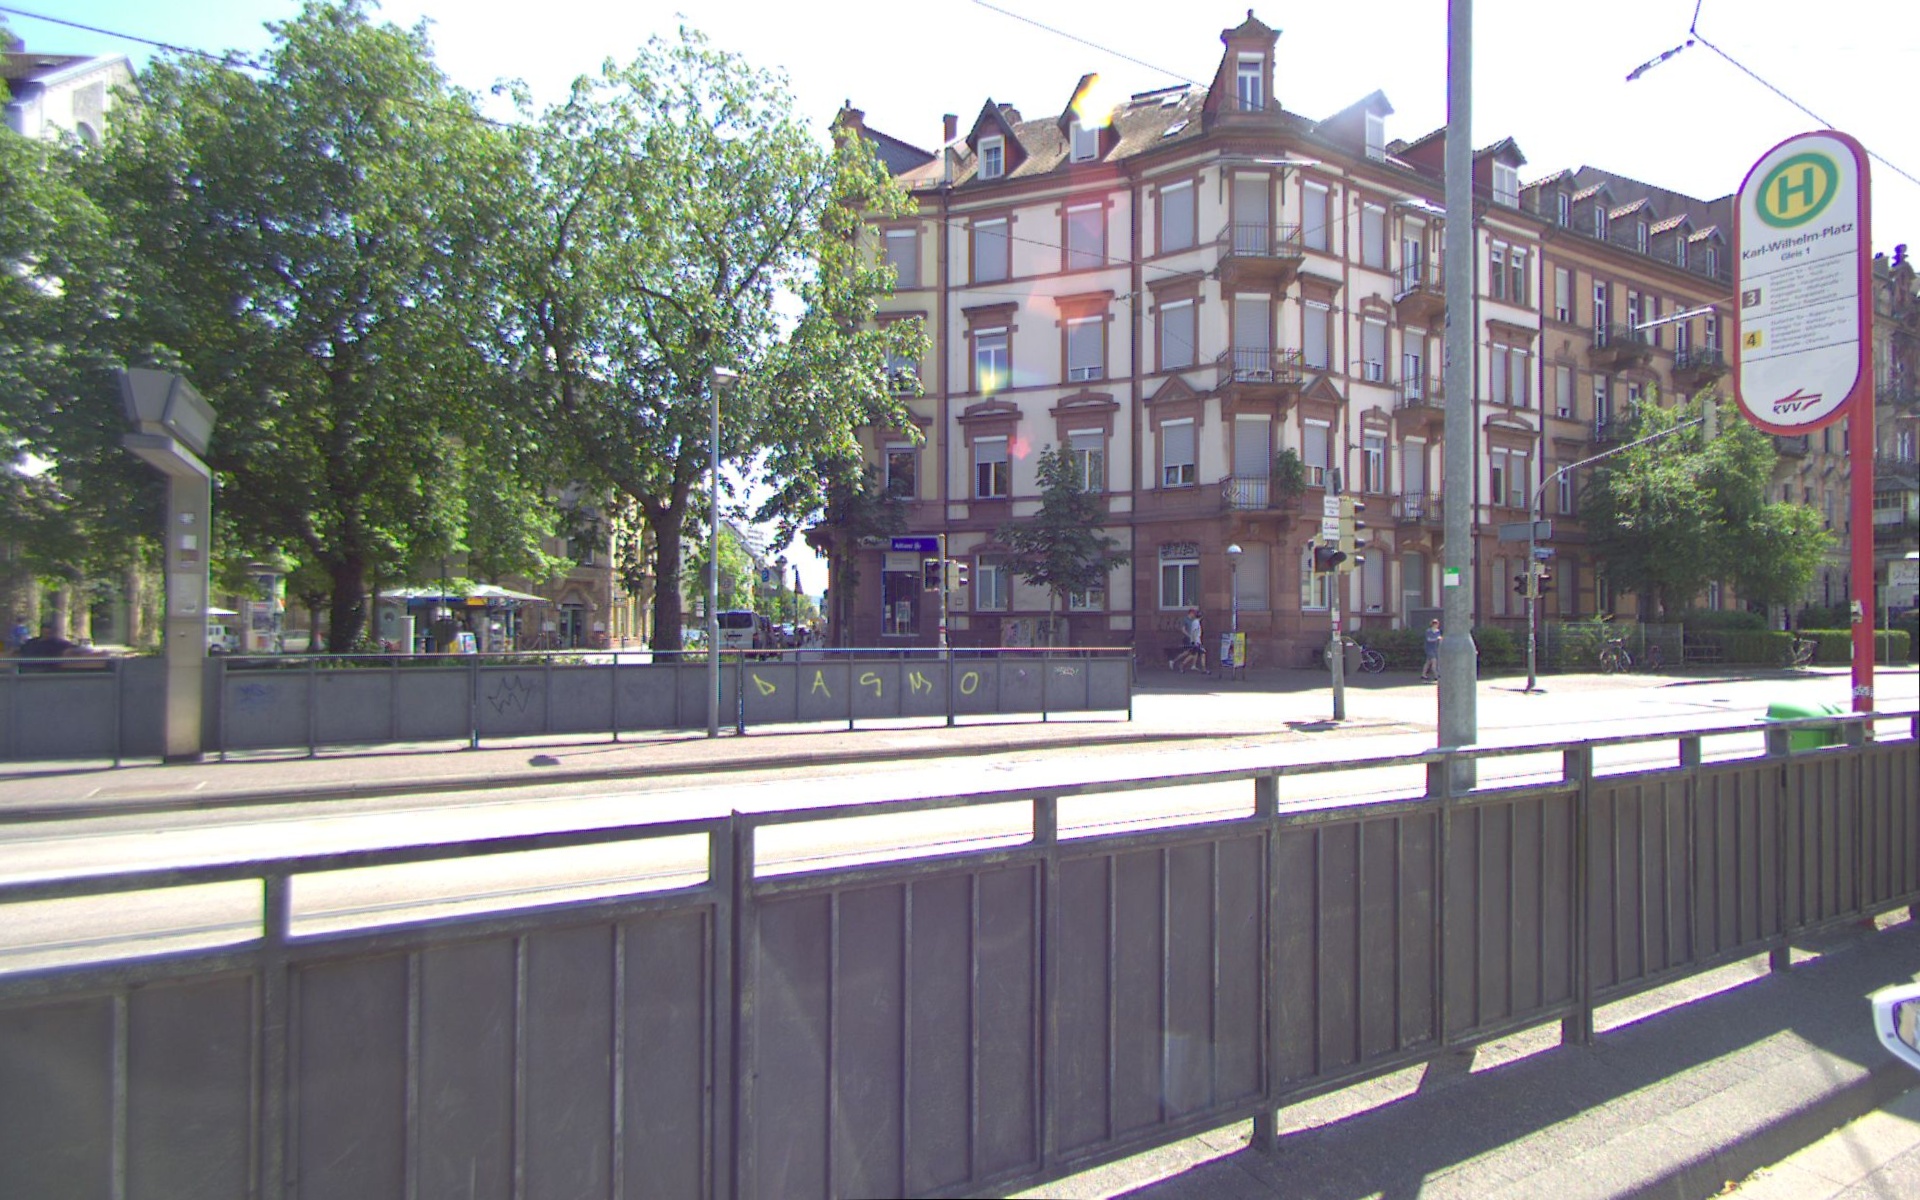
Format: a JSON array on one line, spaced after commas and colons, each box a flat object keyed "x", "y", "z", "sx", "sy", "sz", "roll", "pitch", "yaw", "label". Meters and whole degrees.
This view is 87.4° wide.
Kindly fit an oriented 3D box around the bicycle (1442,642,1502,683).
[{"x": 13.494, "y": 1.634, "z": 26.490, "sx": 1.375, "sy": 1.027, "sz": 0.389, "roll": 0, "pitch": -1, "yaw": 21, "label": "bicycle"}]

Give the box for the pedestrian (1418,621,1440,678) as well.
[{"x": 12.814, "y": 1.346, "z": 27.458, "sx": 0.497, "sy": 1.536, "sz": 0.469, "roll": 1, "pitch": -1, "yaw": 18, "label": "pedestrian"}]

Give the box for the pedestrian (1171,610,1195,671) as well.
[{"x": 6.605, "y": 1.192, "z": 29.731, "sx": 0.500, "sy": 1.791, "sz": 0.527, "roll": 0, "pitch": -1, "yaw": 39, "label": "pedestrian"}]

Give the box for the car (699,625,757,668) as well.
[{"x": -8.475, "y": 1.683, "z": 36.893, "sx": 1.512, "sy": 1.461, "sz": 3.739, "roll": 1, "pitch": -1, "yaw": -5, "label": "car"}]

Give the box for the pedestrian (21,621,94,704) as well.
[{"x": -14.592, "y": 0.998, "z": 16.254, "sx": 0.607, "sy": 1.304, "sz": 0.646, "roll": 1, "pitch": -1, "yaw": 21, "label": "pedestrian"}]

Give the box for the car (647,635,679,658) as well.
[{"x": -20.933, "y": 3.247, "z": 70.860, "sx": 1.513, "sy": 1.461, "sz": 3.738, "roll": 1, "pitch": -1, "yaw": -6, "label": "car"}]

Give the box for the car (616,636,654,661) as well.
[{"x": -20.662, "y": 3.058, "z": 64.007, "sx": 1.513, "sy": 1.461, "sz": 3.738, "roll": 1, "pitch": -1, "yaw": -6, "label": "car"}]

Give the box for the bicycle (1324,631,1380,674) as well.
[{"x": 11.576, "y": 1.544, "z": 29.699, "sx": 1.494, "sy": 1.185, "sz": 0.364, "roll": 1, "pitch": 0, "yaw": 34, "label": "bicycle"}]

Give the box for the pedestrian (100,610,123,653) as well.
[{"x": -33.149, "y": 1.236, "z": 39.254, "sx": 0.554, "sy": 1.644, "sz": 0.510, "roll": 1, "pitch": -1, "yaw": -30, "label": "pedestrian"}]

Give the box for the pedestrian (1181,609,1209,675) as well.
[{"x": 6.736, "y": 1.194, "z": 28.802, "sx": 0.556, "sy": 1.849, "sz": 0.632, "roll": 0, "pitch": -1, "yaw": 39, "label": "pedestrian"}]

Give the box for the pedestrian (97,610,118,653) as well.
[{"x": -32.922, "y": 1.231, "z": 38.792, "sx": 0.520, "sy": 1.644, "sz": 0.493, "roll": 1, "pitch": -1, "yaw": -30, "label": "pedestrian"}]

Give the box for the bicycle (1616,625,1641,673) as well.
[{"x": 20.664, "y": 1.495, "z": 31.053, "sx": 0.606, "sy": 1.414, "sz": 2.301, "roll": 0, "pitch": -1, "yaw": 34, "label": "bicycle"}]

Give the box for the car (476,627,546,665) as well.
[{"x": -18.870, "y": 1.895, "z": 42.332, "sx": 1.512, "sy": 1.461, "sz": 3.739, "roll": 1, "pitch": -1, "yaw": -5, "label": "car"}]

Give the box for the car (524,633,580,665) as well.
[{"x": -20.329, "y": 2.439, "z": 50.233, "sx": 1.512, "sy": 1.461, "sz": 3.739, "roll": 1, "pitch": -1, "yaw": -5, "label": "car"}]

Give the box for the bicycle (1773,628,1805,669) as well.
[{"x": 28.490, "y": 1.645, "z": 34.546, "sx": 0.583, "sy": 1.374, "sz": 2.434, "roll": 0, "pitch": -1, "yaw": 34, "label": "bicycle"}]

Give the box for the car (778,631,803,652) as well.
[{"x": -12.565, "y": 3.061, "z": 74.673, "sx": 1.512, "sy": 1.461, "sz": 3.739, "roll": 1, "pitch": -1, "yaw": -5, "label": "car"}]

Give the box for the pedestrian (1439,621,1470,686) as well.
[{"x": 12.790, "y": 1.366, "z": 26.006, "sx": 0.641, "sy": 1.637, "sz": 0.469, "roll": 1, "pitch": 2, "yaw": 18, "label": "pedestrian"}]

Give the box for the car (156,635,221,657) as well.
[{"x": -31.118, "y": 1.843, "z": 40.532, "sx": 0.847, "sy": 0.876, "sz": 1.910, "roll": 0, "pitch": -1, "yaw": 35, "label": "car"}]

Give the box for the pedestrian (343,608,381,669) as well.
[{"x": -20.210, "y": 1.299, "z": 33.950, "sx": 0.797, "sy": 2.040, "sz": 0.716, "roll": 0, "pitch": -1, "yaw": 9, "label": "pedestrian"}]

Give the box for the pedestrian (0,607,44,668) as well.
[{"x": -27.821, "y": 1.103, "z": 29.790, "sx": 0.703, "sy": 1.774, "sz": 0.616, "roll": 1, "pitch": -1, "yaw": -6, "label": "pedestrian"}]
